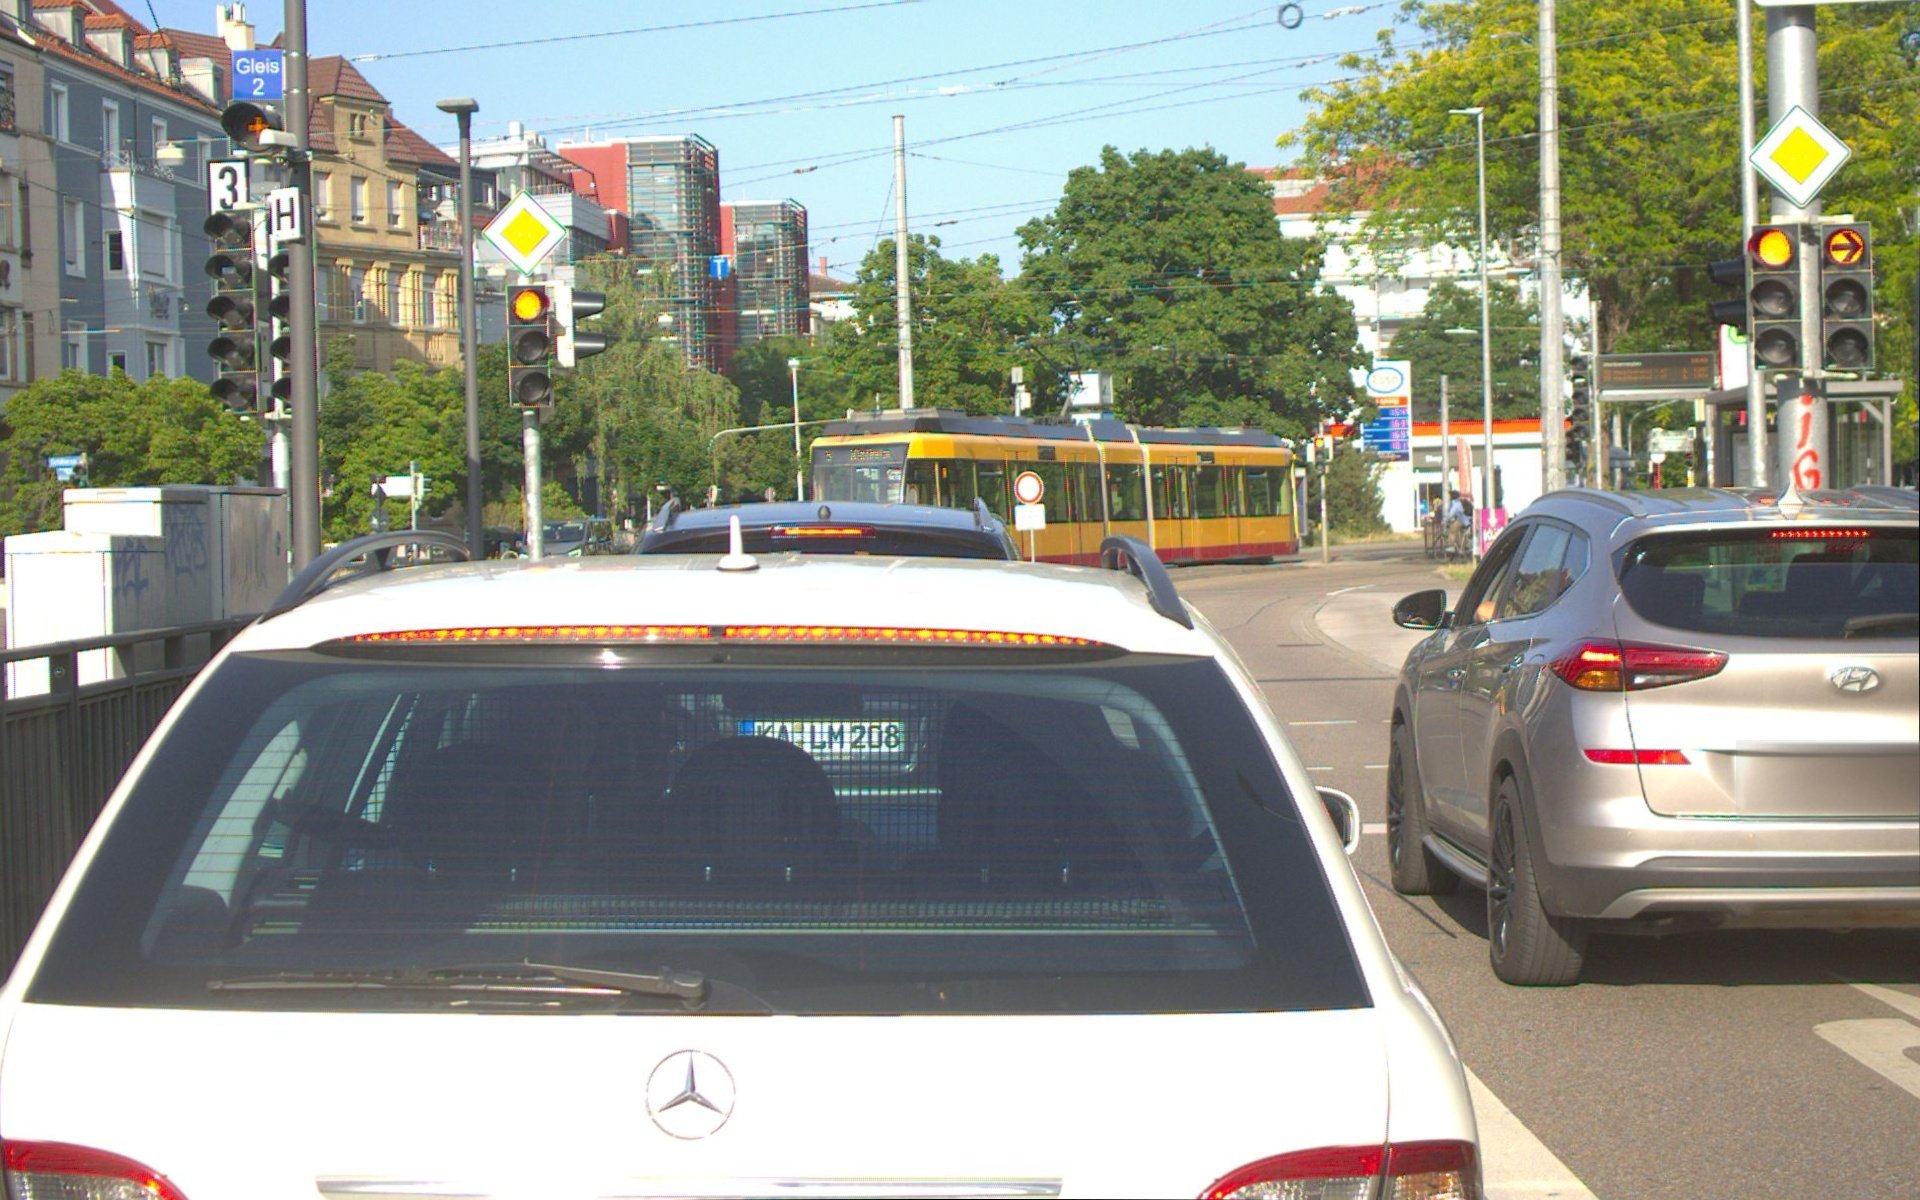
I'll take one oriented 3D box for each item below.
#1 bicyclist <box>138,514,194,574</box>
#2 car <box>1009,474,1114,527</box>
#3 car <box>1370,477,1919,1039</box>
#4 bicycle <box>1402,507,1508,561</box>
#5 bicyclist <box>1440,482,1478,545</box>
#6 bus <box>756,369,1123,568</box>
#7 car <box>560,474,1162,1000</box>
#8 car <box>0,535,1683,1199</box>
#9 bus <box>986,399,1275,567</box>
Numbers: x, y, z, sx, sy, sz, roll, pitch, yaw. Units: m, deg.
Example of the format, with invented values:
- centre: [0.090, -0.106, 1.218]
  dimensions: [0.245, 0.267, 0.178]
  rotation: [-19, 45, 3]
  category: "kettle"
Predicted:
- centre: [-16.908, -1.195, 73.206]
  dimensions: [0.763, 1.257, 1.174]
  rotation: [-1, 1, 7]
  category: "bicyclist"
- centre: [3.953, -3.875, 134.567]
  dimensions: [3.986, 2.007, 2.000]
  rotation: [1, 1, -1]
  category: "car"
- centre: [2.638, 0.420, 12.097]
  dimensions: [1.885, 1.645, 3.648]
  rotation: [-2, 1, 0]
  category: "car"
- centre: [11.914, -1.593, 82.781]
  dimensions: [2.483, 1.209, 0.806]
  rotation: [-1, 1, 8]
  category: "bicycle"
- centre: [12.010, -2.076, 82.755]
  dimensions: [0.861, 1.476, 0.789]
  rotation: [-1, 1, 7]
  category: "bicyclist"
- centre: [-0.133, -2.461, 68.552]
  dimensions: [3.112, 3.593, 12.362]
  rotation: [1, 1, 20]
  category: "bus"
- centre: [-0.329, 0.394, 12.710]
  dimensions: [1.885, 1.645, 3.648]
  rotation: [1, 1, 0]
  category: "car"
- centre: [-0.251, 0.645, 5.010]
  dimensions: [1.796, 1.465, 3.648]
  rotation: [0, 1, -1]
  category: "car"
- centre: [4.206, -2.600, 80.242]
  dimensions: [3.112, 3.593, 12.578]
  rotation: [1, 1, 20]
  category: "bus"
